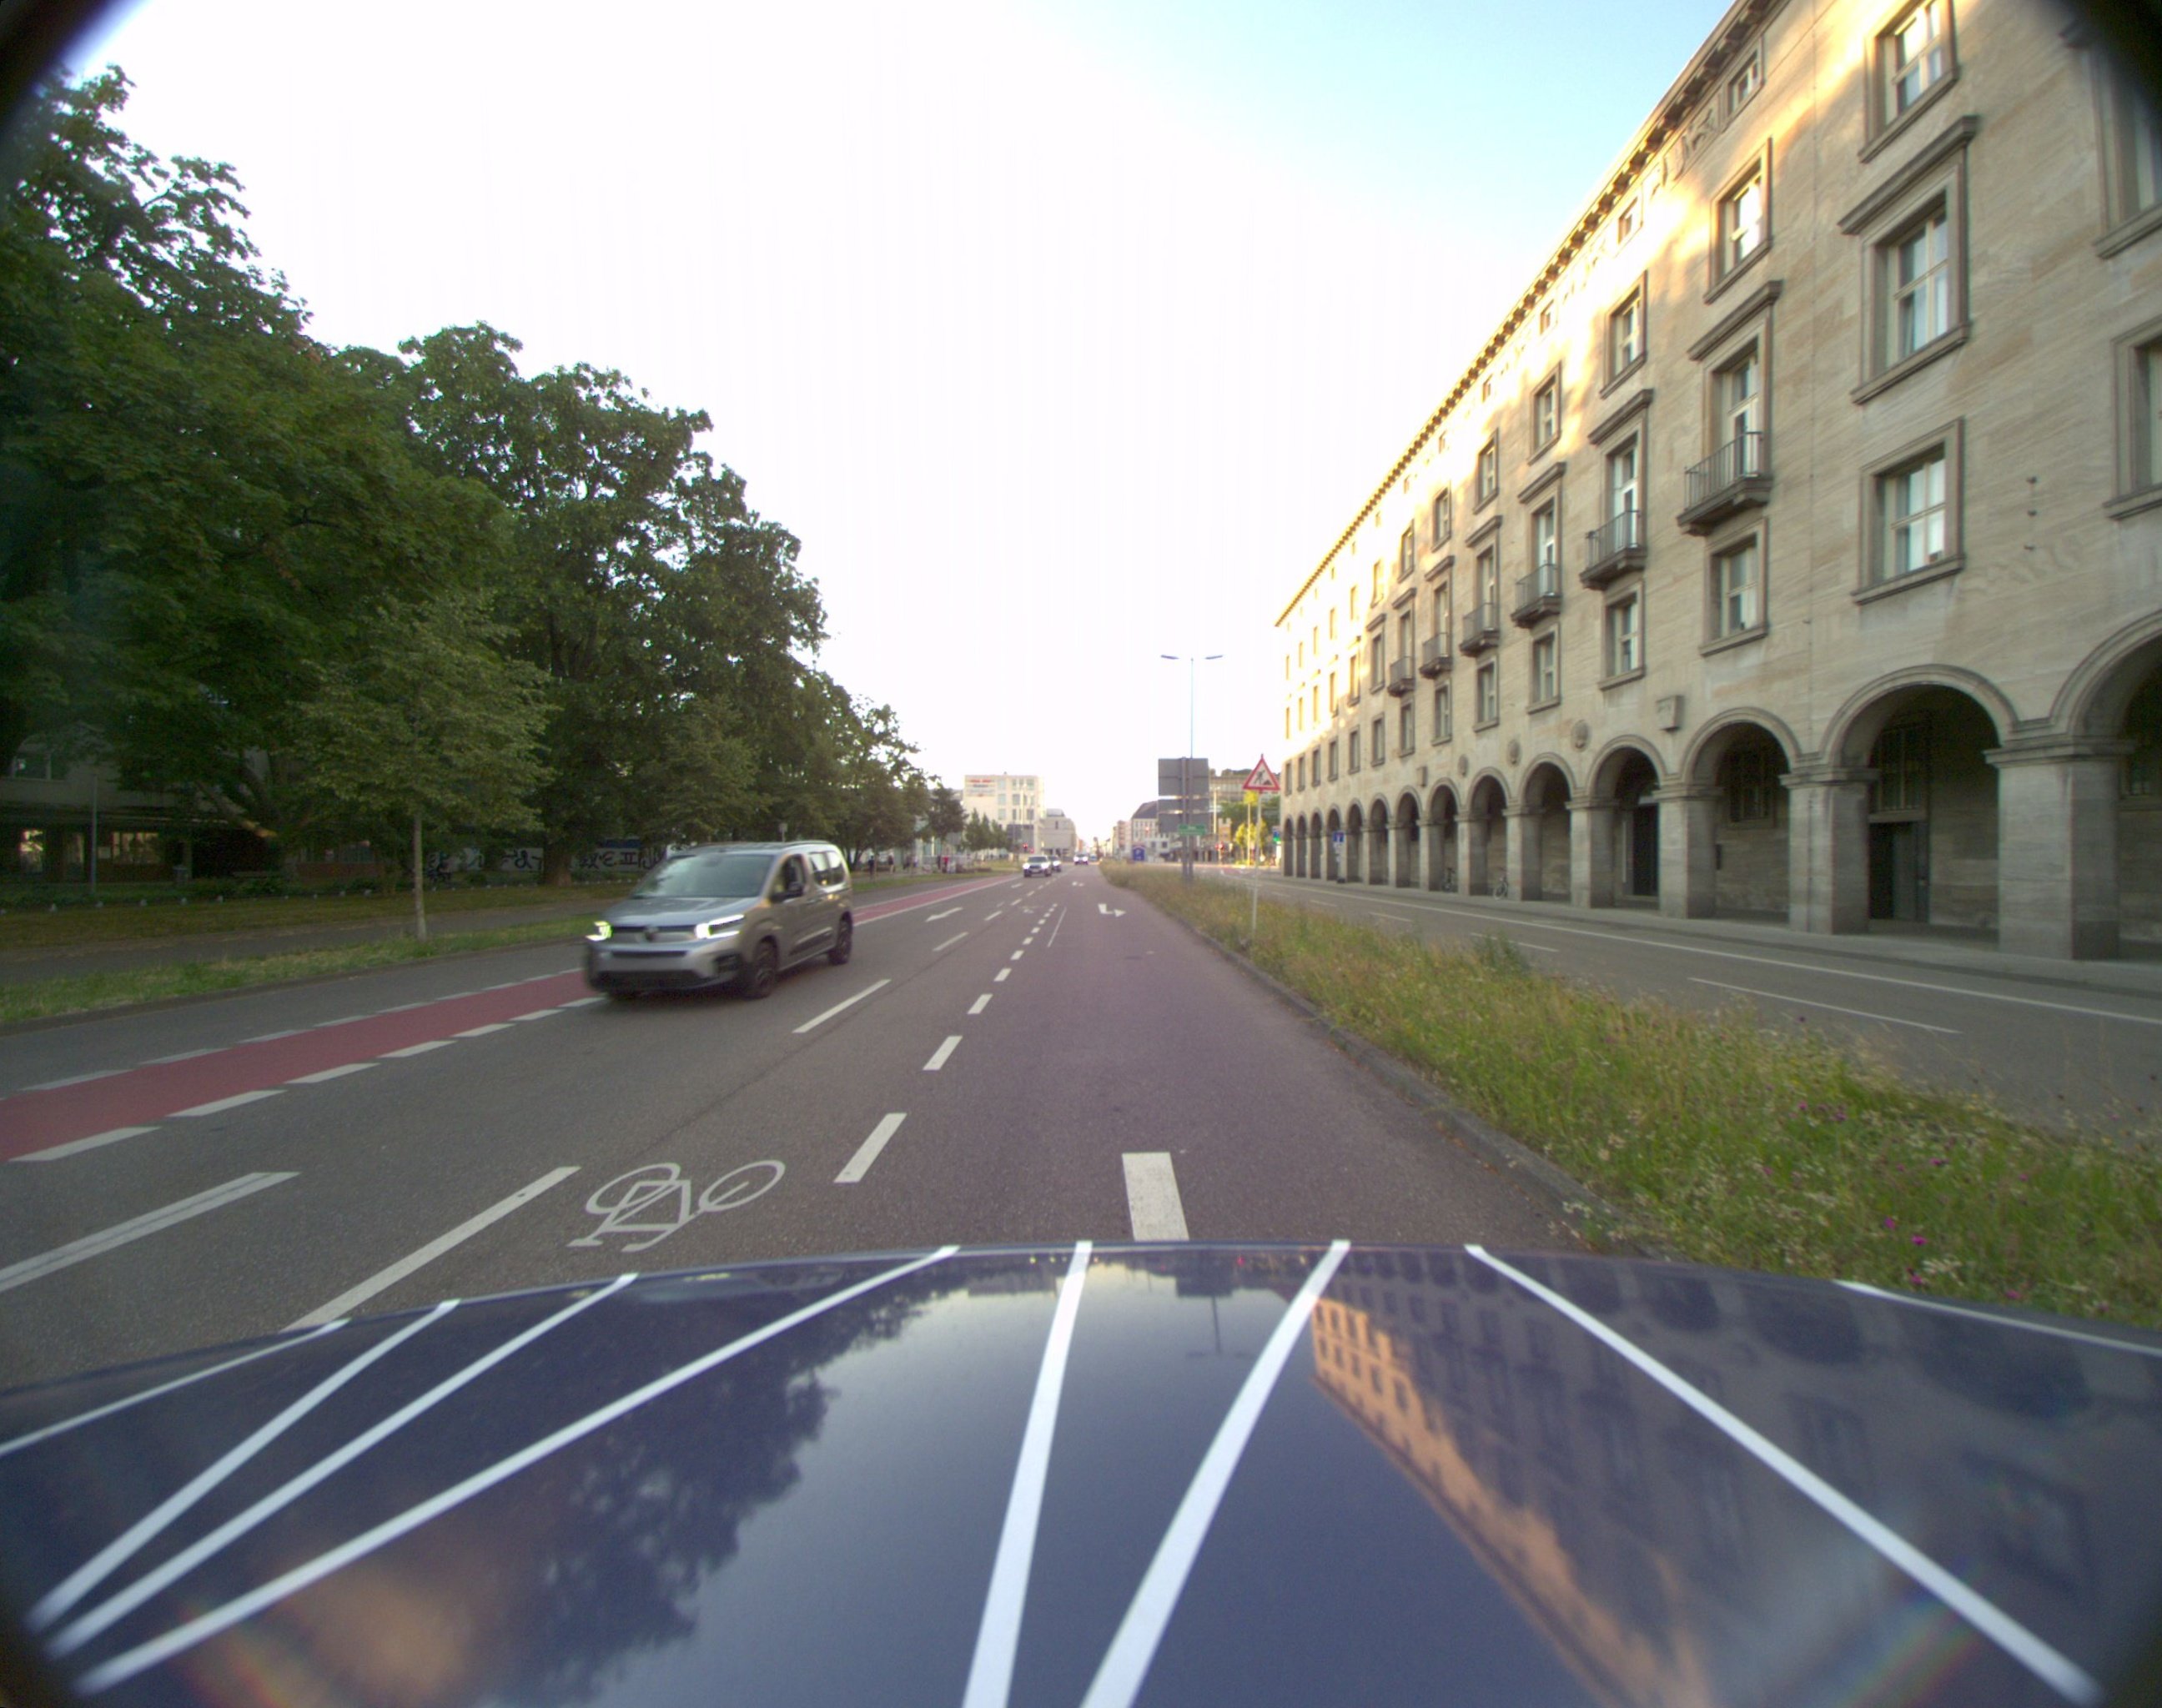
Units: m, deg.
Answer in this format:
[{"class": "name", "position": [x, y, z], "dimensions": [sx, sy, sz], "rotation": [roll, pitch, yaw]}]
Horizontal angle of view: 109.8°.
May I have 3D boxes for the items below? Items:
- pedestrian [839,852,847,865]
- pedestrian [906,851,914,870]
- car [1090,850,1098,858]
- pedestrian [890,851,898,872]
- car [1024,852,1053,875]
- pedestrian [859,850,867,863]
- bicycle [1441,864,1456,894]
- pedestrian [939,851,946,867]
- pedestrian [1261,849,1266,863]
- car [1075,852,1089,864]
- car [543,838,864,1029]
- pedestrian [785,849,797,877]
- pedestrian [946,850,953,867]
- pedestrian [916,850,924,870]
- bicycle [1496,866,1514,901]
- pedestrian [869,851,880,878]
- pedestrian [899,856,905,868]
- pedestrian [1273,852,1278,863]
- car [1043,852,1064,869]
[{"class": "pedestrian", "position": [-25.109, 0.515, 80.105], "dimensions": [0.631, 1.347, 0.681], "rotation": [0, 1, 1]}, {"class": "pedestrian", "position": [-15.077, 0.584, 66.966], "dimensions": [0.519, 1.720, 0.719], "rotation": [0, 1, 1]}, {"class": "car", "position": [3.957, 0.068, 225.065], "dimensions": [1.998, 2.297, 5.091], "rotation": [0, 0, 5]}, {"class": "pedestrian", "position": [-14.934, 0.592, 60.672], "dimensions": [0.509, 1.720, 0.719], "rotation": [0, 1, 1]}, {"class": "car", "position": [-3.190, 0.695, 57.927], "dimensions": [1.826, 1.612, 4.336], "rotation": [-2, 0, 0]}, {"class": "pedestrian", "position": [-23.096, 0.282, 80.520], "dimensions": [0.662, 1.347, 0.559], "rotation": [0, 1, 1]}, {"class": "bicycle", "position": [15.510, 1.038, 32.120], "dimensions": [0.513, 1.172, 2.427], "rotation": [0, 0, 25]}, {"class": "pedestrian", "position": [-14.439, 0.526, 79.278], "dimensions": [0.638, 1.747, 0.506], "rotation": [0, 1, 1]}, {"class": "pedestrian", "position": [24.067, 0.261, 100.148], "dimensions": [0.638, 1.747, 0.506], "rotation": [0, 1, 1]}, {"class": "car", "position": [0.156, 0.512, 107.407], "dimensions": [1.781, 1.676, 4.216], "rotation": [0, 0, 4]}, {"class": "car", "position": [-4.429, 0.798, 9.866], "dimensions": [1.767, 1.877, 4.500], "rotation": [-1, 0, 2]}, {"class": "pedestrian", "position": [-16.516, 0.493, 43.245], "dimensions": [0.500, 1.592, 0.522], "rotation": [0, 1, 1]}, {"class": "pedestrian", "position": [-13.684, 0.494, 79.120], "dimensions": [0.638, 1.747, 0.506], "rotation": [0, 1, 1]}, {"class": "pedestrian", "position": [-14.178, 0.529, 66.783], "dimensions": [0.509, 1.720, 0.719], "rotation": [0, 1, 1]}, {"class": "bicycle", "position": [15.364, 1.042, 27.526], "dimensions": [0.513, 1.115, 2.427], "rotation": [0, 1, 30]}, {"class": "pedestrian", "position": [-13.354, 0.647, 49.094], "dimensions": [0.558, 1.729, 0.555], "rotation": [0, 1, 1]}, {"class": "pedestrian", "position": [-19.732, 0.842, 83.752], "dimensions": [0.509, 1.347, 0.435], "rotation": [0, 1, 1]}, {"class": "pedestrian", "position": [25.621, 0.447, 100.011], "dimensions": [0.526, 1.532, 0.390], "rotation": [0, 1, 1]}, {"class": "car", "position": [-2.645, 0.598, 72.938], "dimensions": [1.782, 1.617, 4.215], "rotation": [-1, 0, 1]}]
